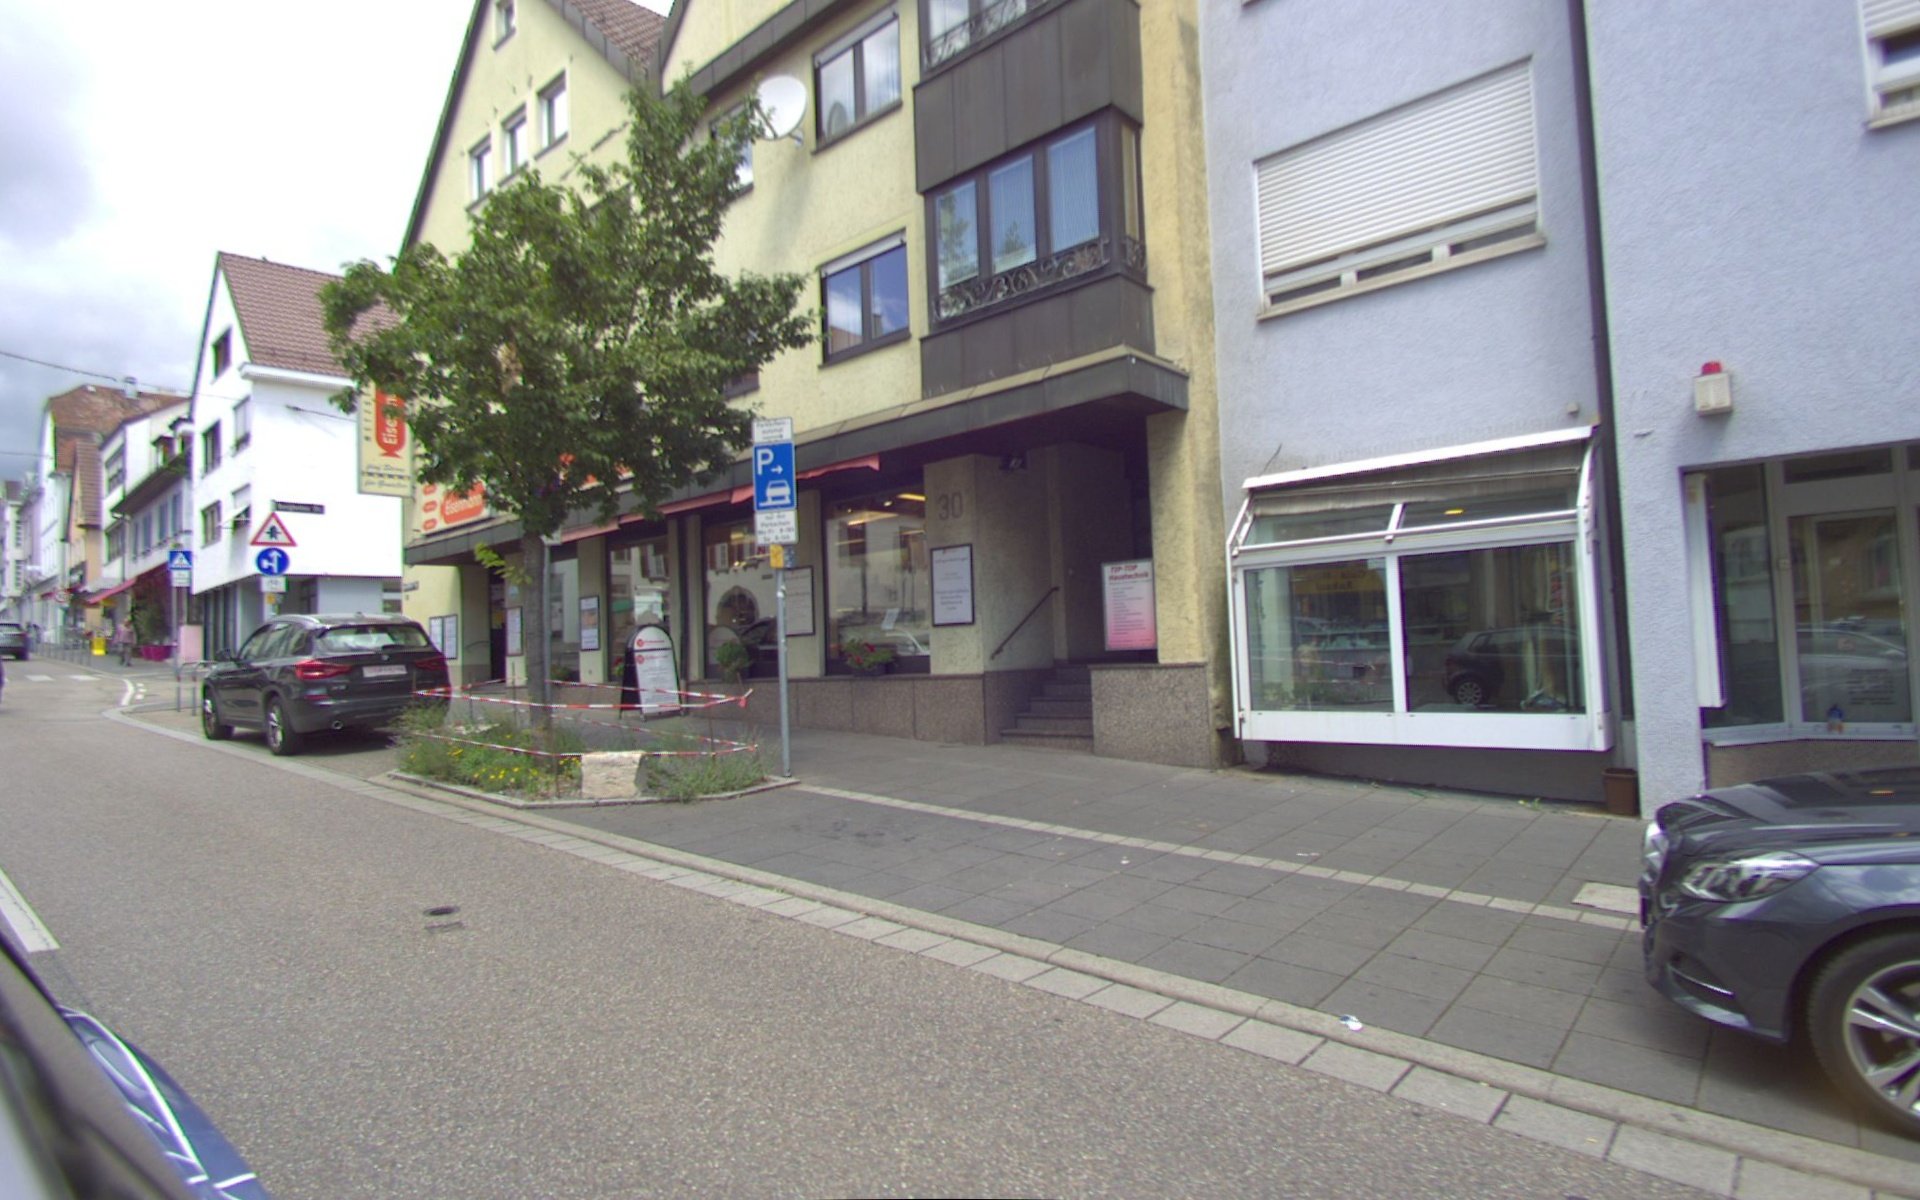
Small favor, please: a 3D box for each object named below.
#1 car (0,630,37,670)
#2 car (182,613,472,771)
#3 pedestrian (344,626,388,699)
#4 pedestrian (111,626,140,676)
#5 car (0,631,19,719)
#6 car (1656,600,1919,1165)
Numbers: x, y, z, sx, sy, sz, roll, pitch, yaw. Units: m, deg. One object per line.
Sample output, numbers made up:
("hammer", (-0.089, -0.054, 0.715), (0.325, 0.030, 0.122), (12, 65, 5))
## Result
("car", (-40.210, 2.054, 42.230), (4.352, 1.633, 1.943), (-1, -2, 40))
("car", (-8.570, 1.107, 13.525), (4.604, 1.706, 1.986), (-2, -1, 41))
("pedestrian", (-14.463, 1.508, 24.632), (0.835, 1.752, 0.630), (-1, -3, 39))
("pedestrian", (-30.166, 1.835, 36.571), (0.825, 1.753, 0.686), (-2, -3, 43))
("car", (-17.502, 1.297, 16.359), (1.882, 1.581, 4.386), (1, -2, -22))
("car", (4.639, 0.742, 2.334), (4.838, 1.504, 1.907), (-2, 0, 40))
